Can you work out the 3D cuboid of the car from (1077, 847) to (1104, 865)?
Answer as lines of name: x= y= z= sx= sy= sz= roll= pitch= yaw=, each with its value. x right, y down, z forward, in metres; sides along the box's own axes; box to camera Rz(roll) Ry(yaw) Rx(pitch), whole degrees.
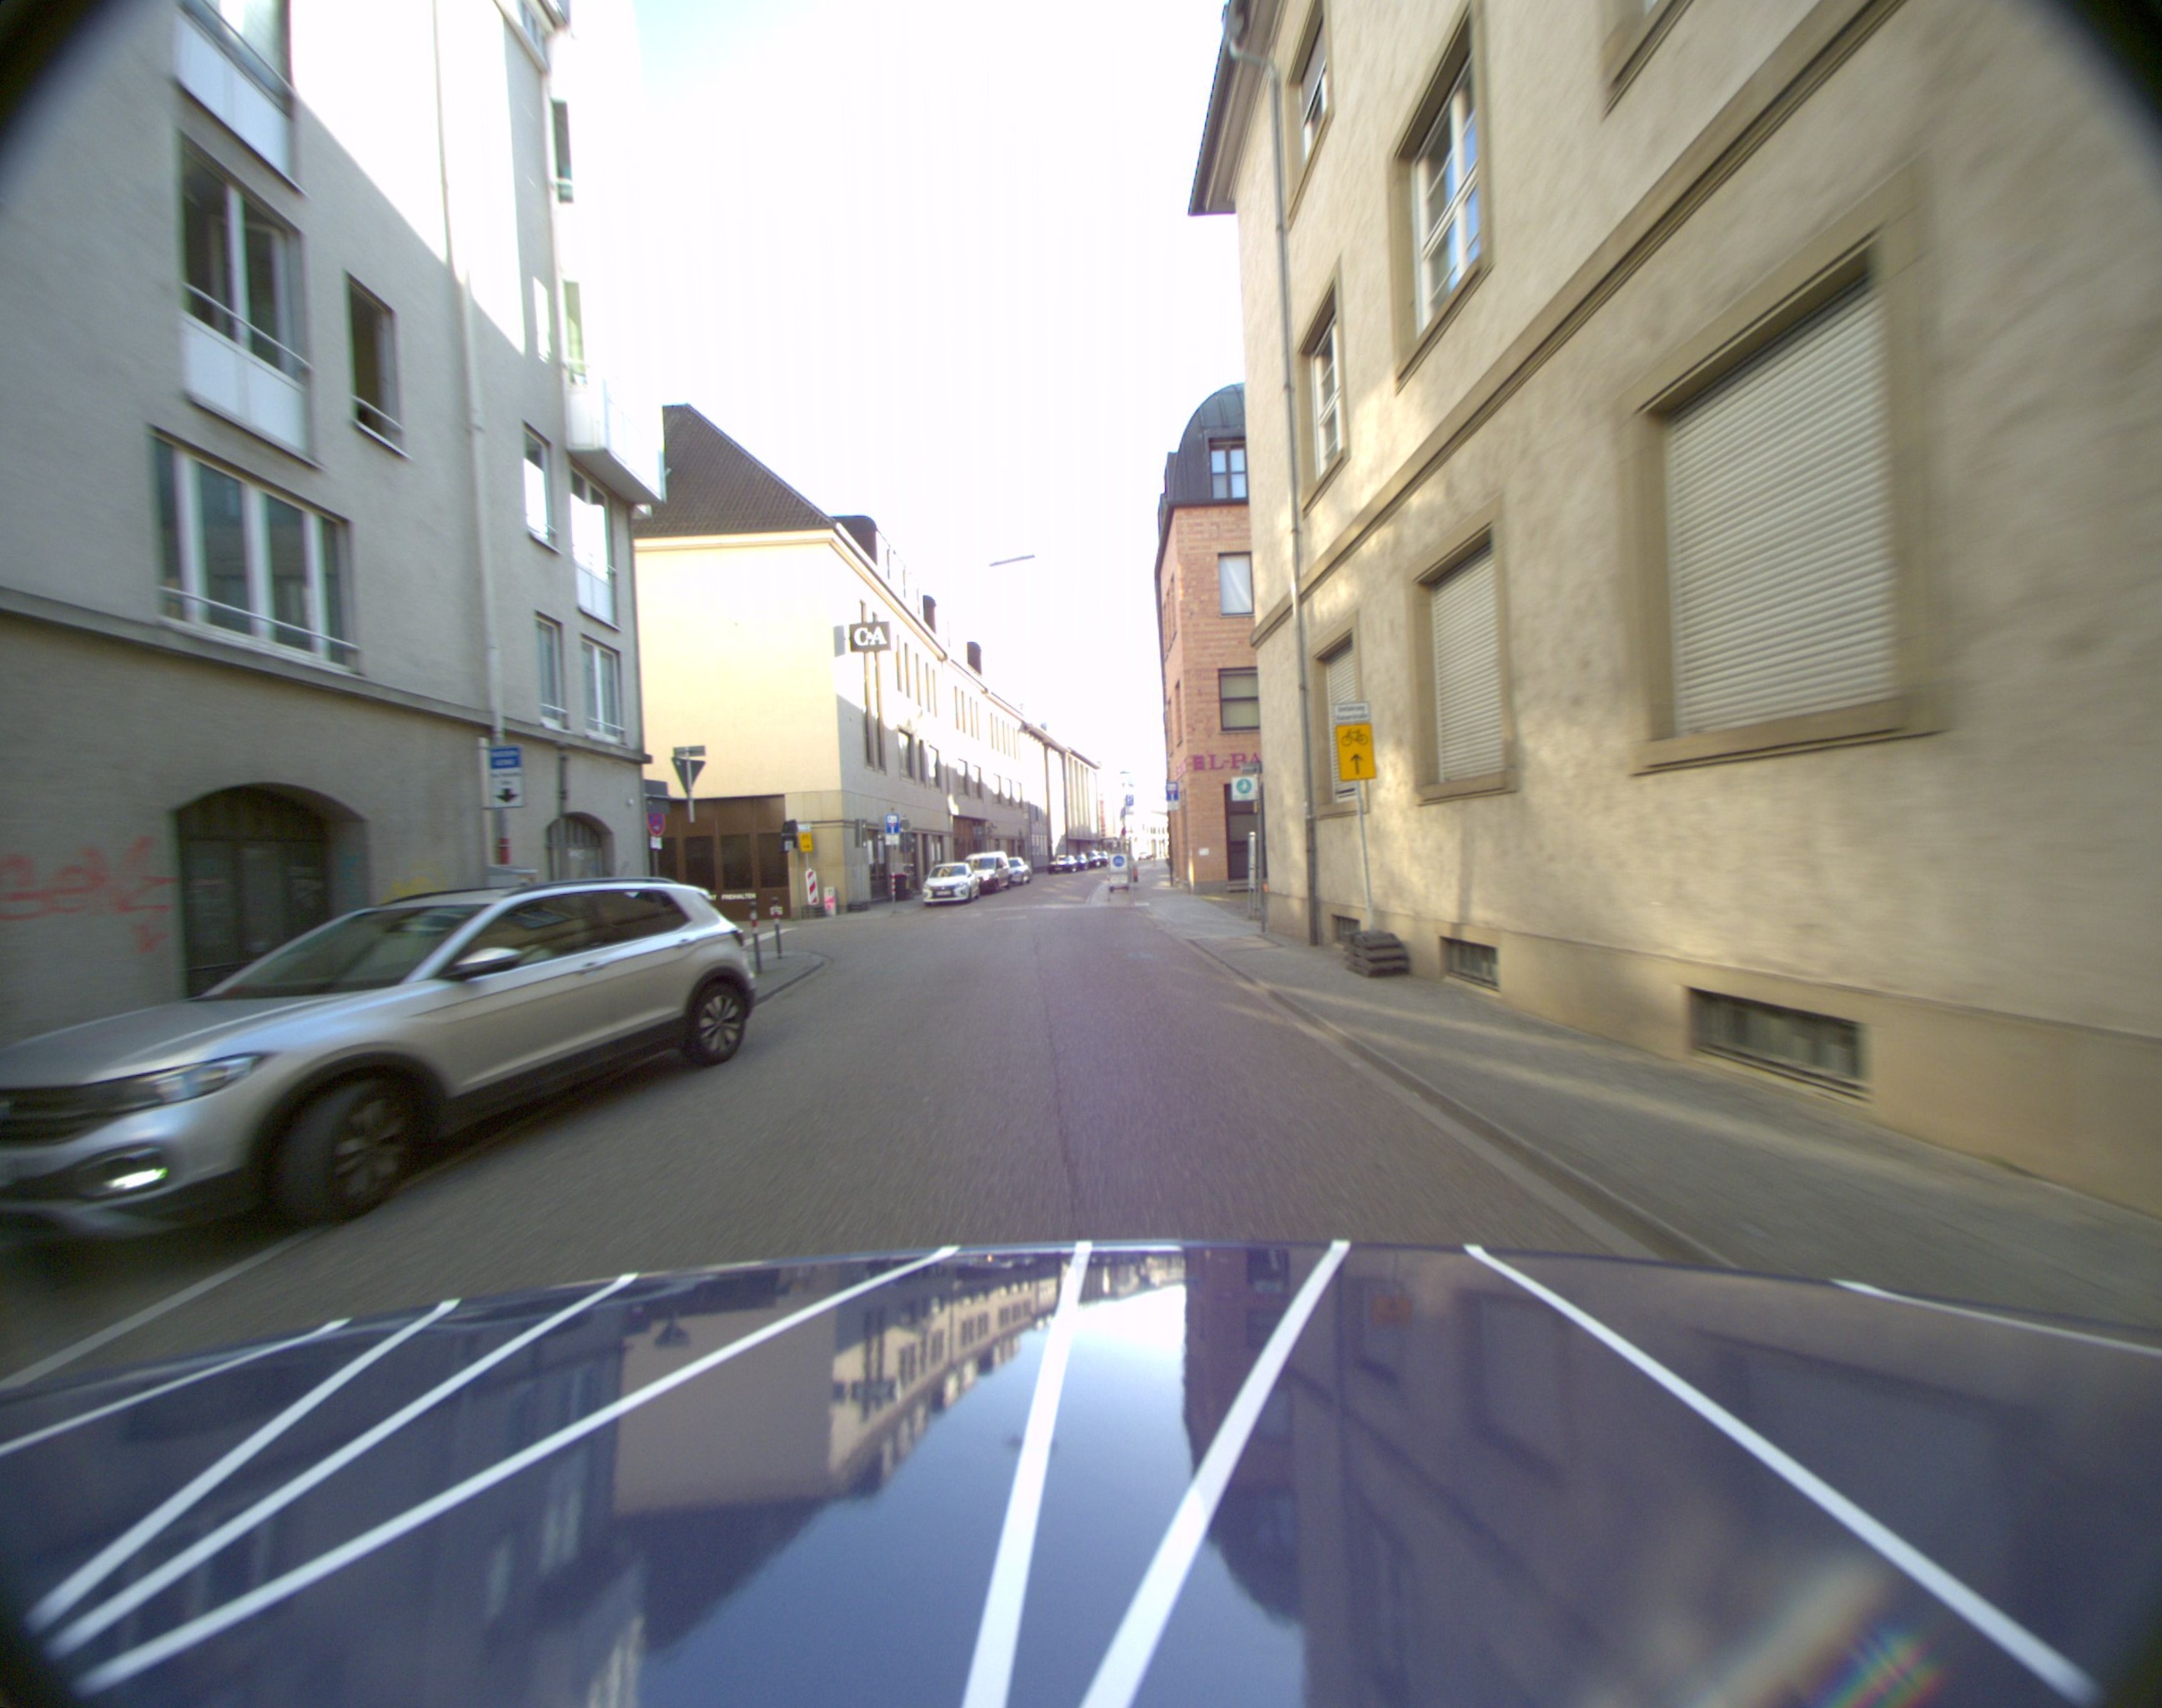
car: x=0.965 y=0.188 z=73.478 sx=1.964 sy=1.527 sz=4.198 roll=-5 pitch=1 yaw=8

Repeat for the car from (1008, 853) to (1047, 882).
car: x=-3.509 y=0.885 z=50.428 sx=1.775 sy=1.574 sz=3.858 roll=-7 pitch=0 yaw=6

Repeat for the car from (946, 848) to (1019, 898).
car: x=-4.347 y=0.775 z=34.455 sx=1.947 sy=1.850 sz=5.196 roll=-7 pitch=0 yaw=5

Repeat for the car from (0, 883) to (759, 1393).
car: x=-4.151 y=1.121 z=4.773 sx=1.828 sy=1.550 sz=3.989 roll=-4 pitch=0 yaw=13

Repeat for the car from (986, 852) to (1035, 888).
car: x=-3.695 y=0.796 z=40.546 sx=1.775 sy=1.574 sz=3.857 roll=-7 pitch=0 yaw=5

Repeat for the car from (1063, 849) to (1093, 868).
car: x=-0.253 y=0.382 z=67.512 sx=1.964 sy=1.400 sz=4.198 roll=-5 pitch=1 yaw=8

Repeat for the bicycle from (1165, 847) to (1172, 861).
bicycle: x=7.225 y=0.009 z=62.417 sx=0.431 sy=1.137 sz=1.691 roll=-3 pitch=1 yaw=10

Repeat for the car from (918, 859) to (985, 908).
car: x=-4.757 y=1.046 z=28.370 sx=1.735 sy=1.539 sz=4.000 roll=-4 pitch=0 yaw=0

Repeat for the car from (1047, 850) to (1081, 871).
car: x=-1.356 y=0.475 z=60.985 sx=1.964 sy=1.400 sz=4.198 roll=-5 pitch=1 yaw=8

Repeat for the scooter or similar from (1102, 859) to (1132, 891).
scooter or similar: x=1.418 y=0.816 z=29.601 sx=0.467 sy=1.217 sz=1.302 roll=-1 pitch=0 yaw=39

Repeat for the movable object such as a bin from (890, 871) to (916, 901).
movable object such as a bin: x=-6.913 y=1.247 z=29.575 sx=0.688 sy=1.079 sz=0.929 roll=-4 pitch=1 yaw=1

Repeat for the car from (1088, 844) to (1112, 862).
car: x=2.014 y=-0.110 z=80.396 sx=1.964 sy=1.637 sz=4.198 roll=-5 pitch=1 yaw=8
